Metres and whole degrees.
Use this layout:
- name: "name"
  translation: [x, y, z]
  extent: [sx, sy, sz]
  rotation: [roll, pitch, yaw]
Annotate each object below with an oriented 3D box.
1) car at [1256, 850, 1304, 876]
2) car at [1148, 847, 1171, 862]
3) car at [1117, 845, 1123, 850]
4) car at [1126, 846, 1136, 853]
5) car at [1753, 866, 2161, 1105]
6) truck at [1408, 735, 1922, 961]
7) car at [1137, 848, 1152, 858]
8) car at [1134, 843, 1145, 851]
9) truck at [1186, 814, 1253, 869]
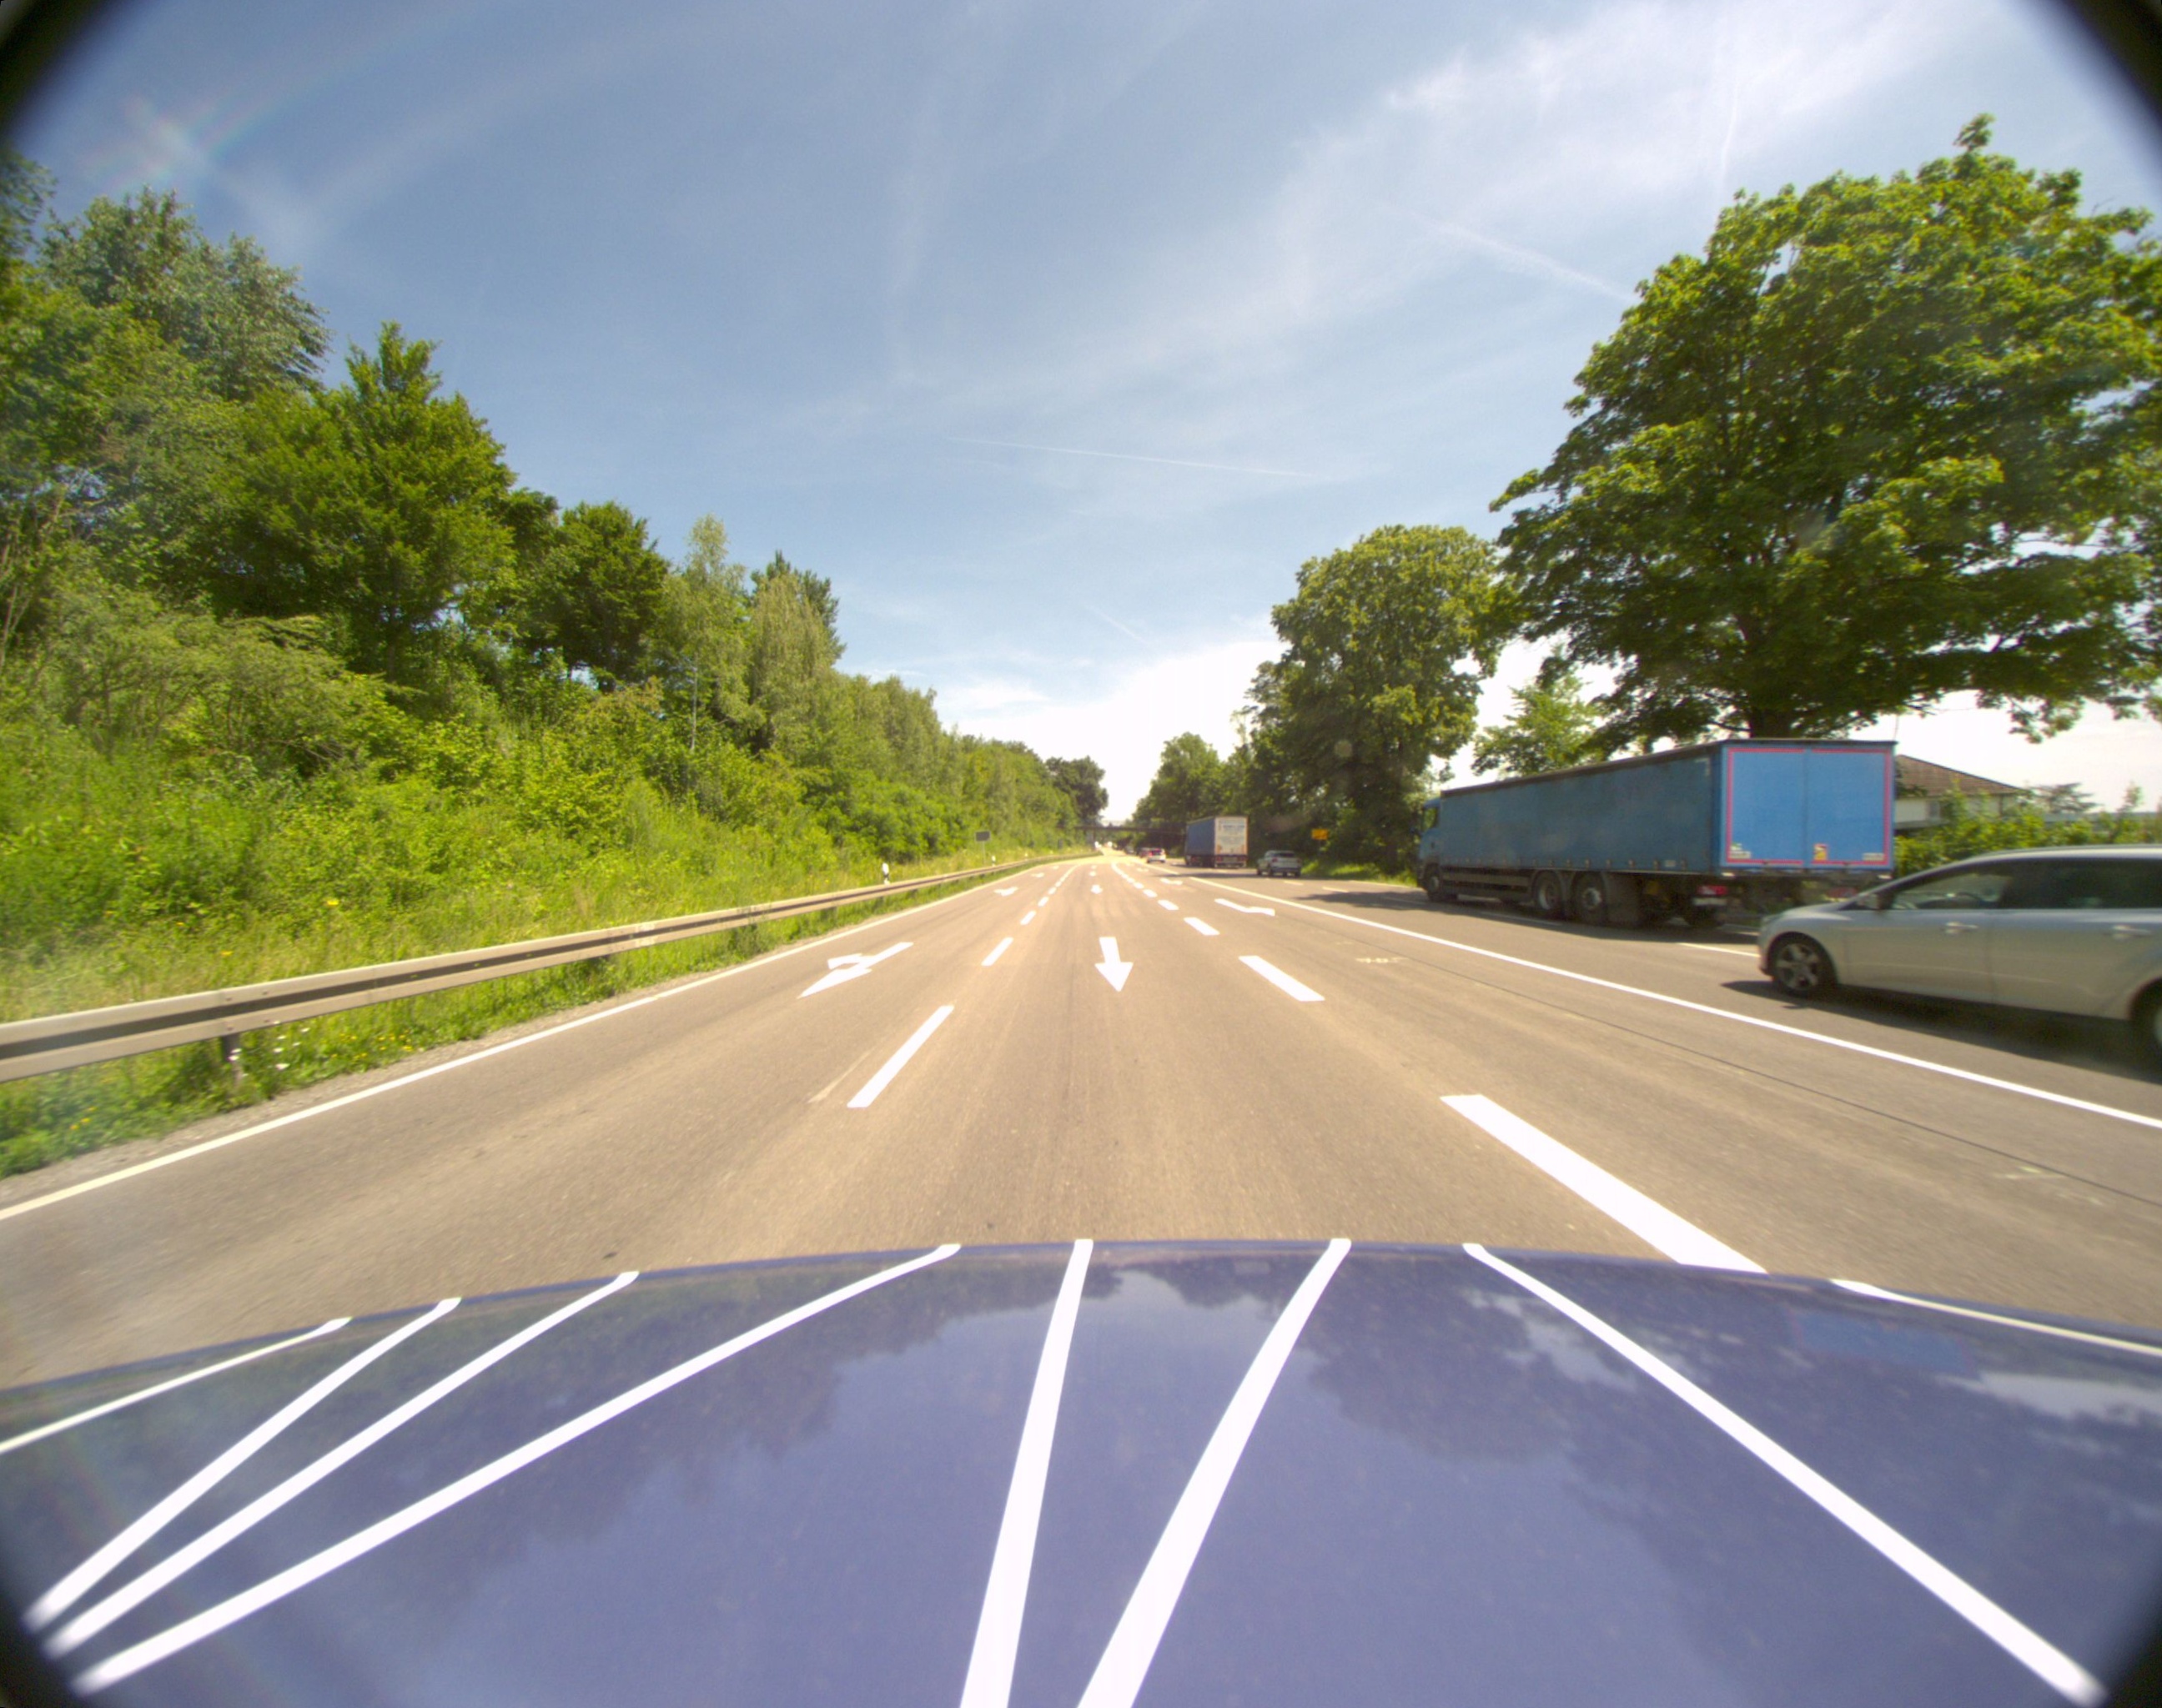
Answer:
- name: "car"
  translation: [11.511, 0.465, 44.262]
  extent: [1.765, 1.419, 4.180]
  rotation: [0, 1, 1]
- name: "car"
  translation: [8.052, 0.018, 78.308]
  extent: [1.924, 1.472, 4.686]
  rotation: [0, 0, 0]
- name: "car"
  translation: [11.951, -1.878, 233.649]
  extent: [1.908, 1.500, 3.764]
  rotation: [0, 1, 2]
- name: "car"
  translation: [10.638, -0.918, 161.200]
  extent: [1.771, 1.378, 3.999]
  rotation: [-2, 2, 1]
- name: "car"
  translation: [7.646, 0.849, 5.507]
  extent: [1.793, 1.418, 4.263]
  rotation: [0, 1, 0]
- name: "truck"
  translation: [11.130, -0.170, 17.025]
  extent: [2.853, 3.332, 11.480]
  rotation: [-1, 1, 1]
- name: "car"
  translation: [8.967, -0.150, 106.883]
  extent: [1.704, 1.407, 4.561]
  rotation: [-1, 1, 0]
- name: "car"
  translation: [10.723, -1.354, 139.854]
  extent: [1.646, 1.430, 4.016]
  rotation: [-2, 1, -1]
- name: "truck"
  translation: [11.673, -1.052, 66.213]
  extent: [2.975, 4.153, 16.571]
  rotation: [0, 1, 0]
